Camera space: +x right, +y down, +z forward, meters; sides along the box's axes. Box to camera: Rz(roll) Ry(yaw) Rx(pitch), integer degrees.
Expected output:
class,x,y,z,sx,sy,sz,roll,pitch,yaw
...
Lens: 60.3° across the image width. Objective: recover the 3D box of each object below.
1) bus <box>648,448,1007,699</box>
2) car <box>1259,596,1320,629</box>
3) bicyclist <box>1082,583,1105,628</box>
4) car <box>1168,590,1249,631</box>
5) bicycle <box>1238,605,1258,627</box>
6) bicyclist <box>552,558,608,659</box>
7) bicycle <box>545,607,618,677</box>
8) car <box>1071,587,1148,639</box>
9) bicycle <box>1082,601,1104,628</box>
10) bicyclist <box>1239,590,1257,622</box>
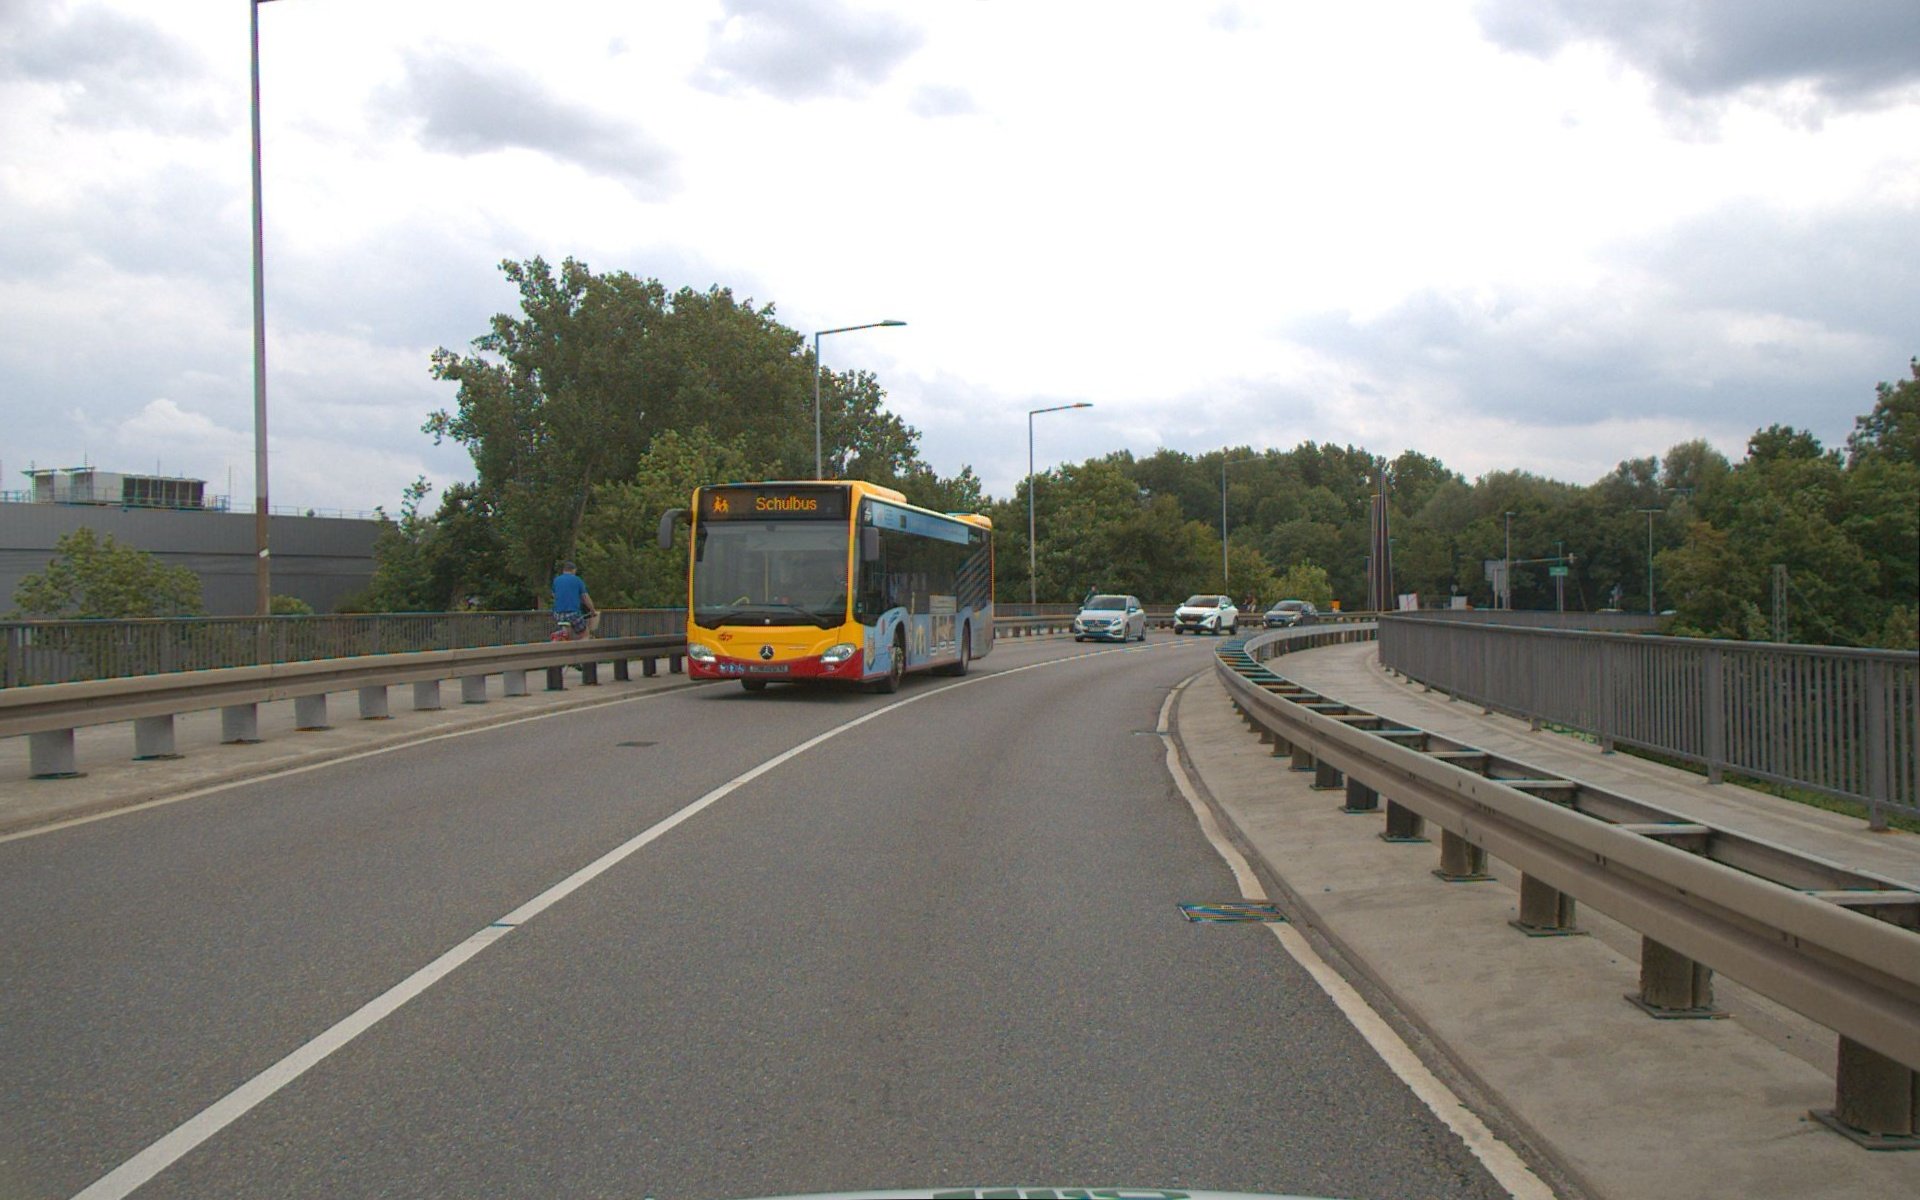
class,x,y,z,sx,sy,sz,roll,pitch,yaw
bus,-1.605,-0.328,28.424,2.967,3.290,12.961,1,0,10
car,15.818,0.602,79.242,1.773,1.503,4.378,1,0,27
bicyclist,5.649,0.235,69.967,0.830,1.840,0.797,1,-1,15
car,10.343,0.448,68.545,1.903,1.621,4.768,1,0,27
bicycle,15.423,0.856,88.545,0.622,1.194,1.905,1,0,23
bicyclist,-5.994,0.133,26.097,0.597,1.567,0.758,1,-1,8
bicycle,-5.976,0.651,26.216,0.482,1.063,1.811,1,0,8
car,5.086,0.433,55.905,1.779,1.648,4.400,1,0,16
bicycle,5.633,0.609,69.924,0.632,1.086,1.762,1,0,15
bicyclist,15.415,0.327,88.532,0.756,1.660,0.648,1,-2,25
